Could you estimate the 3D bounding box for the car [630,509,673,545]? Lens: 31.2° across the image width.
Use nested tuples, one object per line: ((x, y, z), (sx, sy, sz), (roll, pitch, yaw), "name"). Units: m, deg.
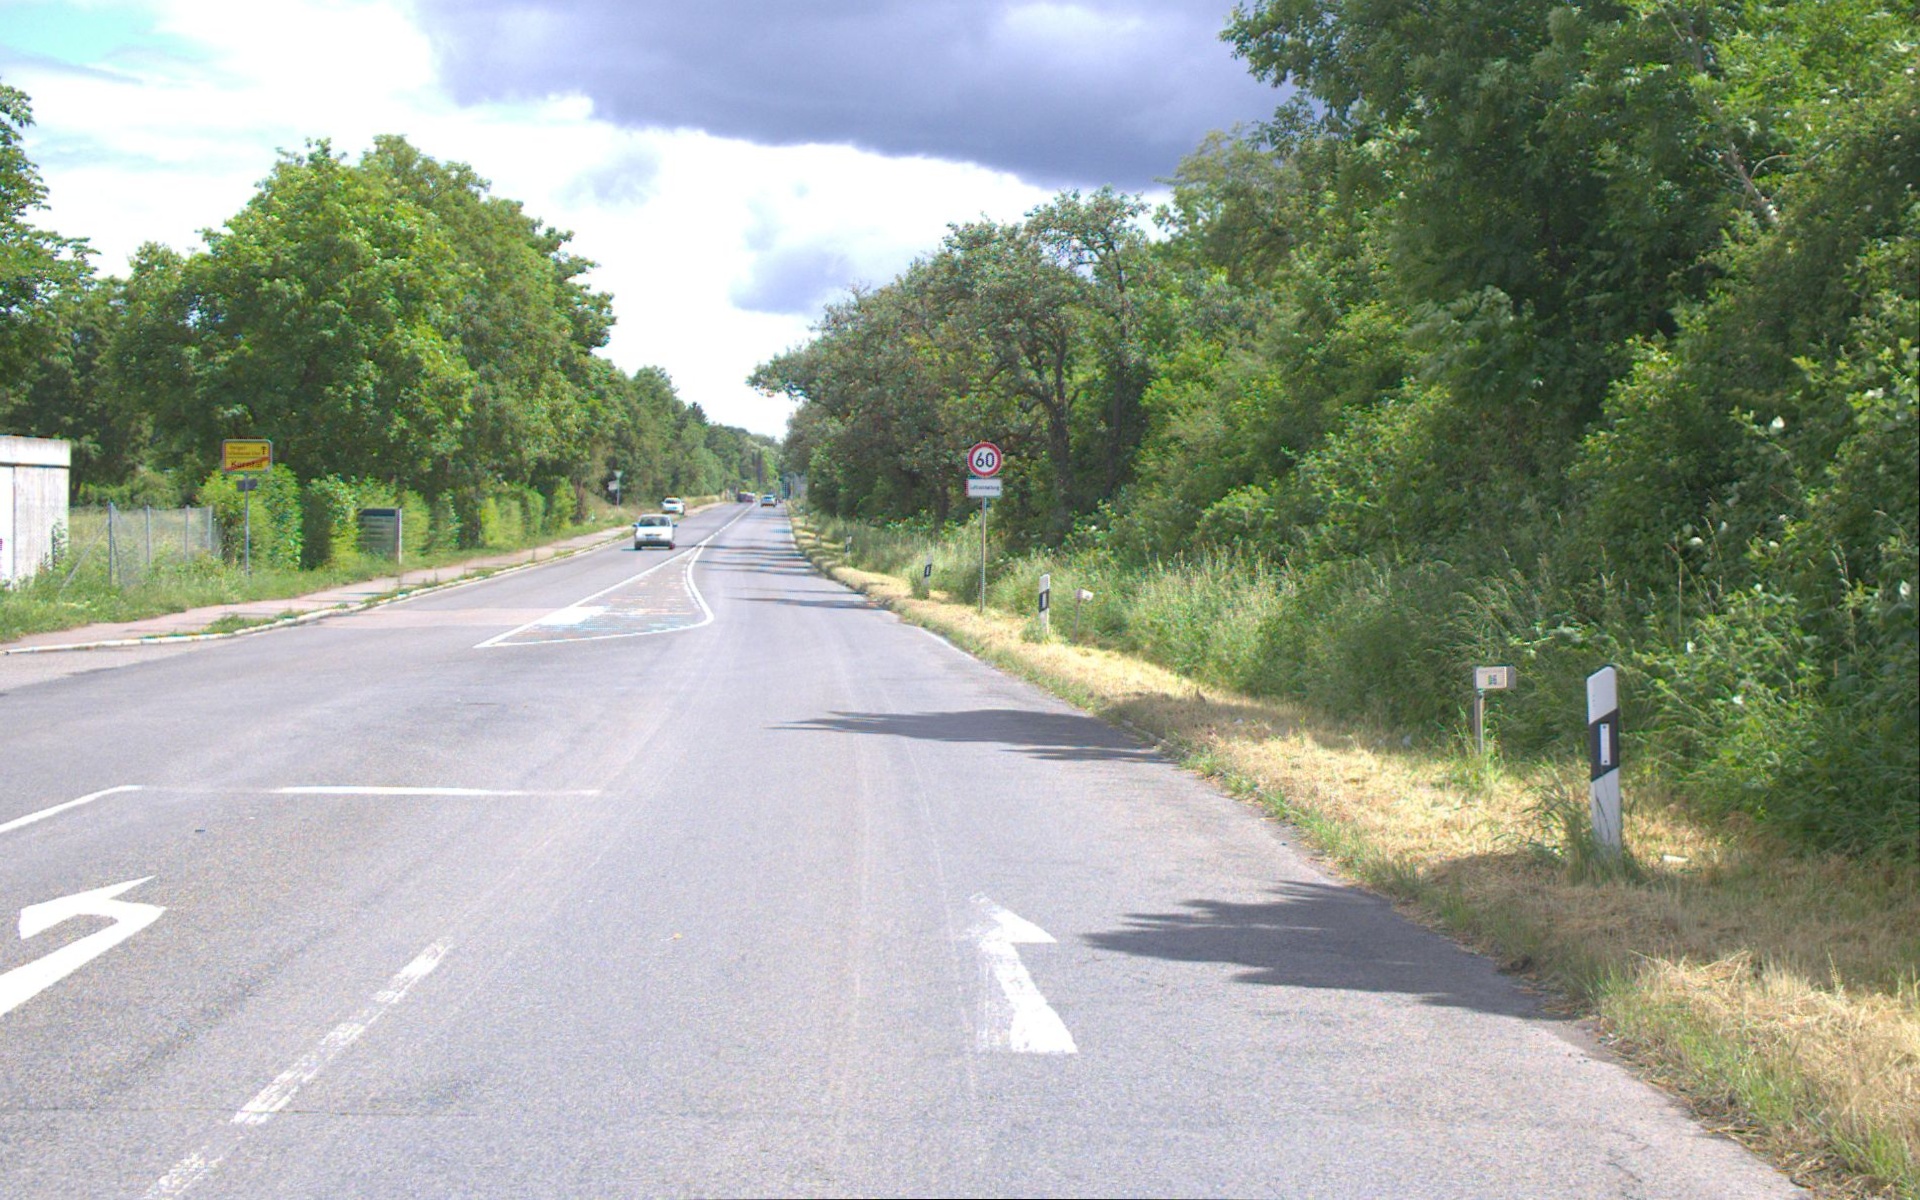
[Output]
((-12.552, -2.980, 140.155), (1.660, 1.427, 3.693), (-1, 2, -4), "car")
